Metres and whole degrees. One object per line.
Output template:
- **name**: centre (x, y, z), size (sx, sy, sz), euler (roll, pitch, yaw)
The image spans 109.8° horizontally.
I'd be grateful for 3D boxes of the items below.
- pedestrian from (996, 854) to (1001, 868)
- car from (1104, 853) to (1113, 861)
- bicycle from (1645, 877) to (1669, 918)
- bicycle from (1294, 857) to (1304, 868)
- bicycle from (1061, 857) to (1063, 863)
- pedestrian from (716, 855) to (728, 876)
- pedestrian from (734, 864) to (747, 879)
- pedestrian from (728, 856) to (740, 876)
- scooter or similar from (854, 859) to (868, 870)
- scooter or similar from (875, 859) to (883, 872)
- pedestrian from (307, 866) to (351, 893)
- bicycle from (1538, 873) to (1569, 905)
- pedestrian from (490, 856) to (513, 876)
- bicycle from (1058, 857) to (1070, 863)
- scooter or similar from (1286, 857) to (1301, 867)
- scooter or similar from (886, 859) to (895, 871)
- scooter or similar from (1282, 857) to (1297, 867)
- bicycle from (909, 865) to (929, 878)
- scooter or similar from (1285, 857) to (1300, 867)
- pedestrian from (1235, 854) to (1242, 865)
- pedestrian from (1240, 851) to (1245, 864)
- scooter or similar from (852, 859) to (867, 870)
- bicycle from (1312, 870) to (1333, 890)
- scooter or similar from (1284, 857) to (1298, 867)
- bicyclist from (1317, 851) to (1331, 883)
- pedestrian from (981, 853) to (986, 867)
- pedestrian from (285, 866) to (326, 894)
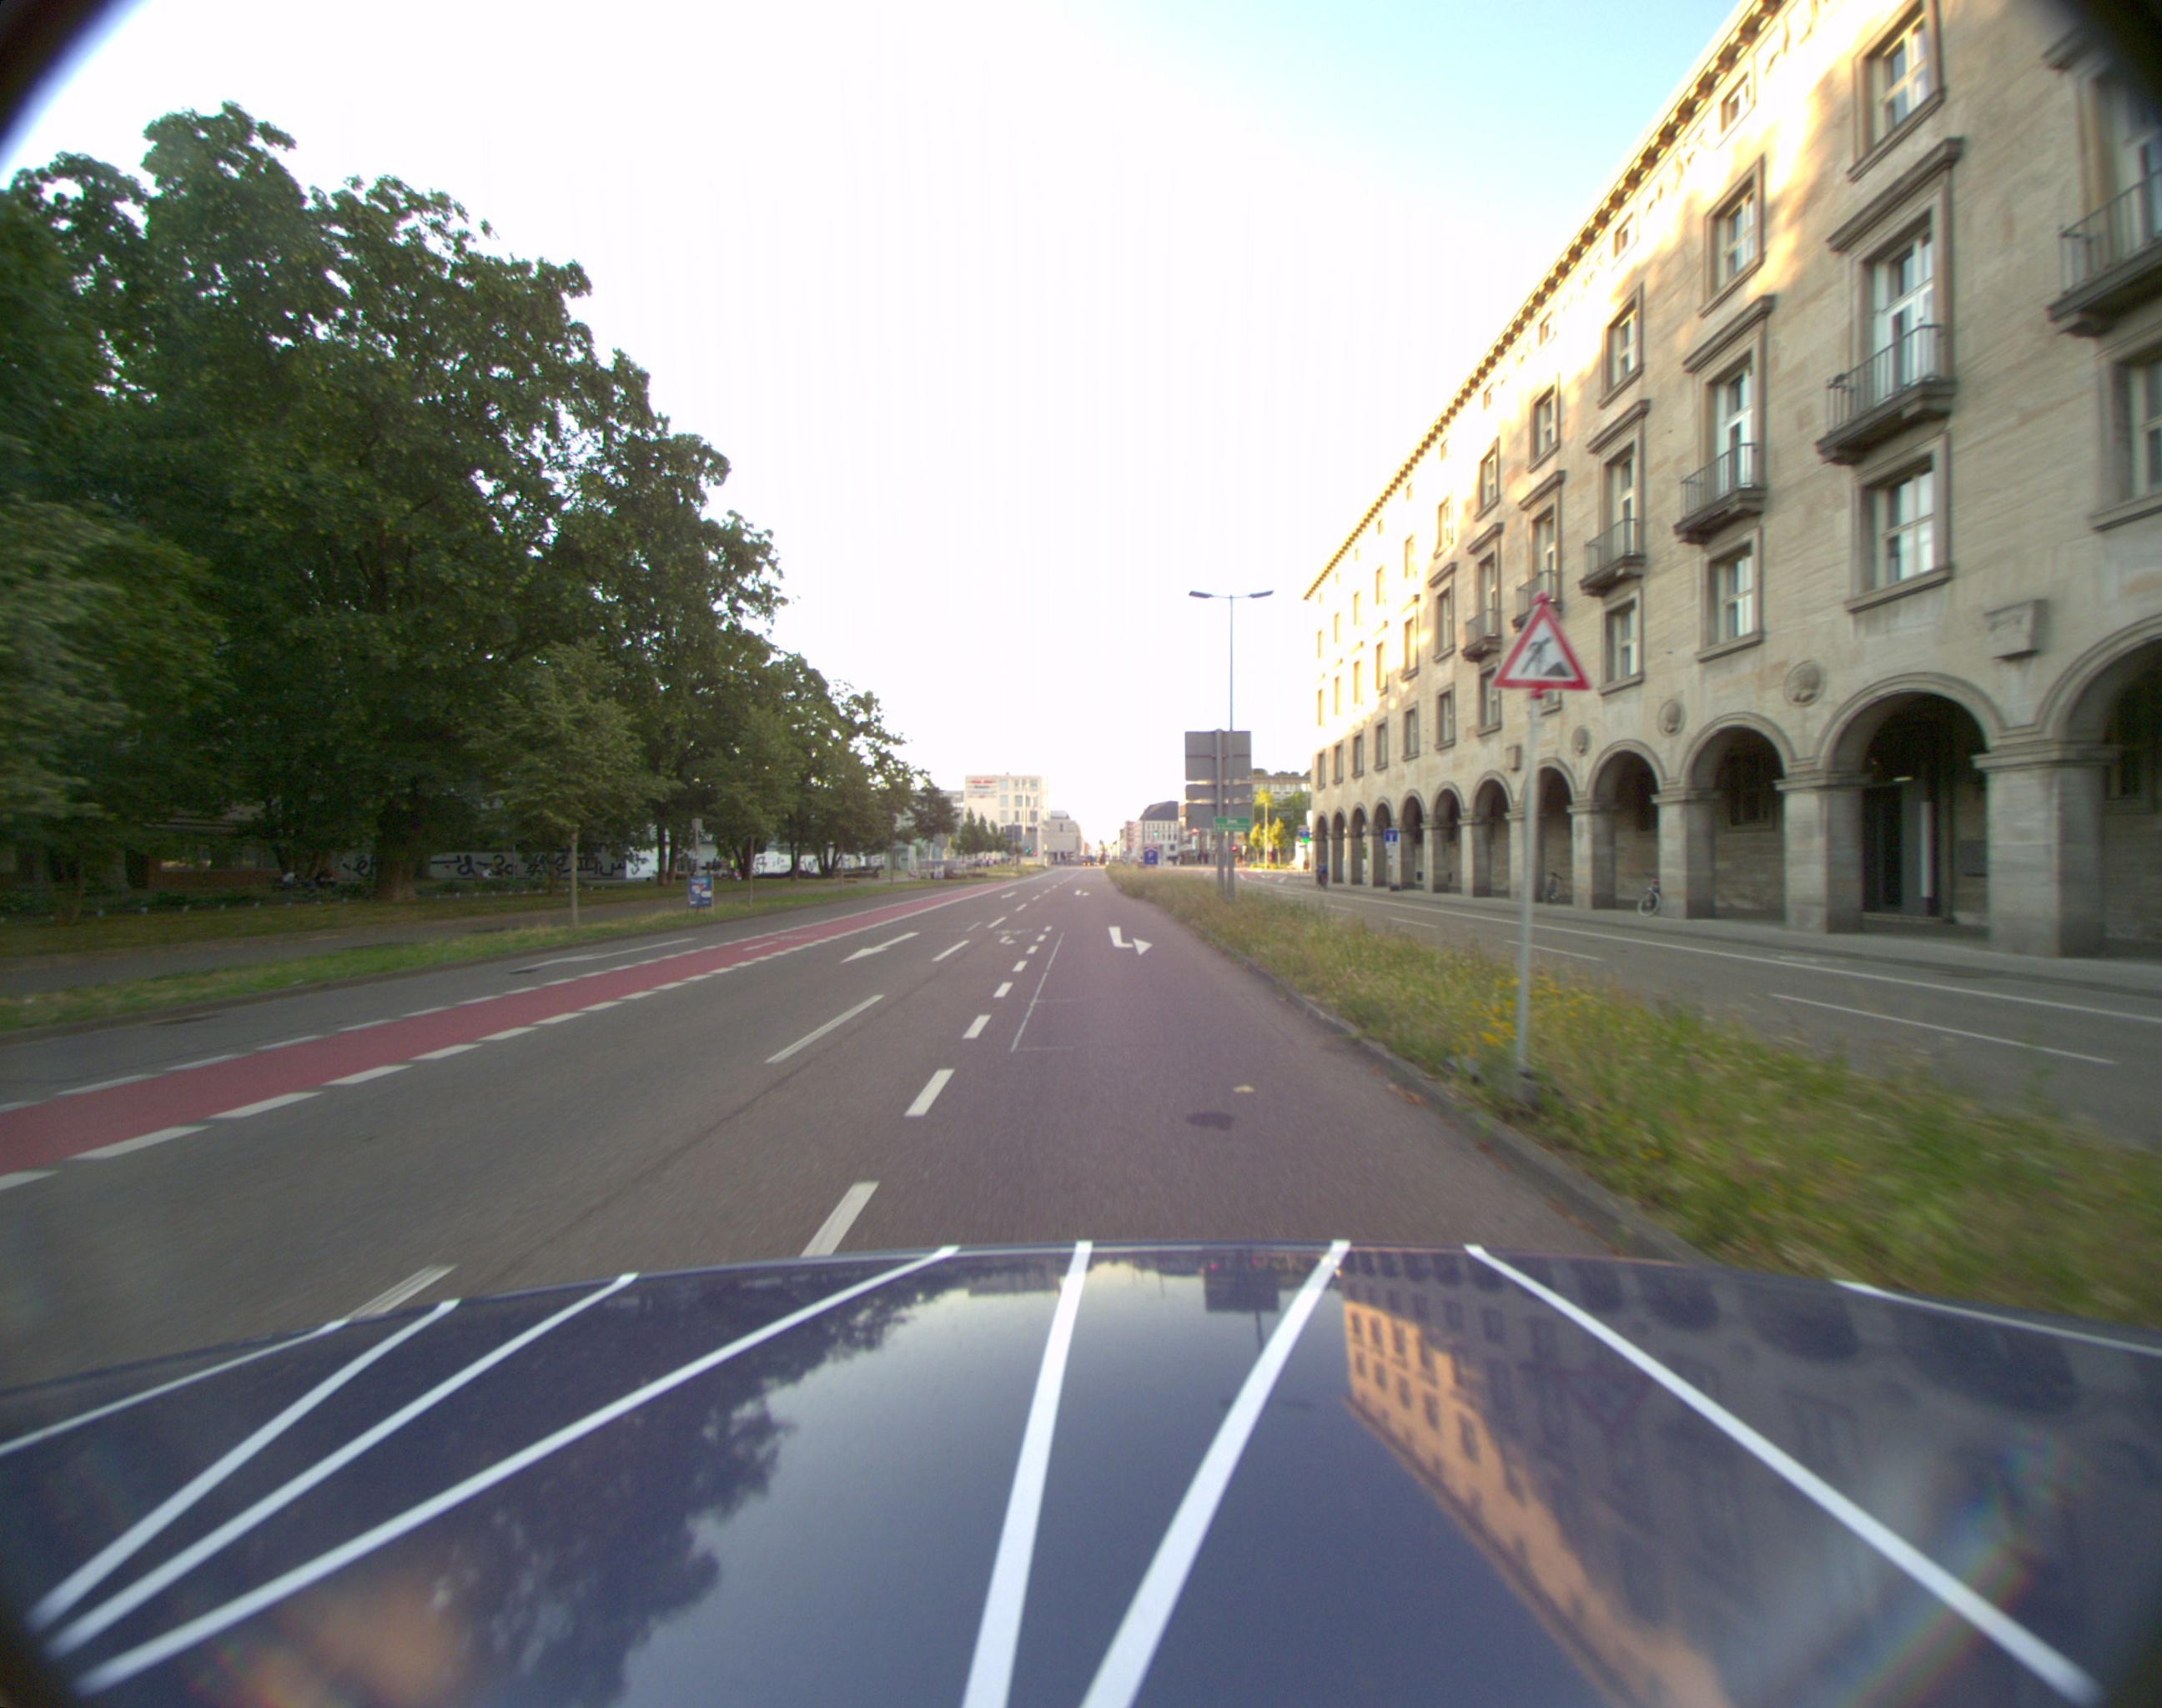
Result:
- **pedestrian**: centre (-11.445, 0.923, 105.657), size (0.644, 1.922, 0.619), euler (0, 0, 1)
- **car**: centre (6.621, 0.748, 180.478), size (2.071, 1.642, 3.999), euler (0, 3, 3)
- **bicycle**: centre (15.443, 1.150, 20.371), size (0.477, 0.999, 2.009), euler (0, 0, 37)
- **bicycle**: centre (27.272, 1.015, 95.075), size (0.619, 1.316, 2.509), euler (0, 0, 0)
- **bicycle**: centre (-4.489, 1.386, 180.170), size (0.619, 1.316, 2.509), euler (0, 0, 0)
- **pedestrian**: centre (-32.493, 1.020, 68.739), size (0.768, 1.845, 0.601), euler (0, 0, 16)
- **pedestrian**: centre (-20.350, 1.061, 45.365), size (0.682, 0.879, 0.592), euler (0, 0, -23)
- **pedestrian**: centre (-31.635, 1.048, 69.289), size (0.768, 1.810, 0.601), euler (0, 0, 16)
- **scooter or similar**: centre (-26.179, 1.248, 90.434), size (1.573, 1.213, 0.474), euler (-2, 1, -1)
- **scooter or similar**: centre (-20.620, 1.155, 77.442), size (0.474, 1.213, 1.574), euler (2, 0, -5)
- **pedestrian**: centre (-34.716, 1.175, 35.103), size (1.134, 1.253, 0.905), euler (0, 0, 4)
- **bicycle**: centre (15.769, 1.149, 25.404), size (0.477, 0.999, 2.008), euler (0, 0, 20)
- **pedestrian**: centre (-34.721, 0.701, 45.548), size (0.788, 1.157, 0.766), euler (0, 0, -4)
- **bicycle**: centre (-4.047, 1.443, 182.341), size (2.804, 1.209, 0.765), euler (0, 0, 11)
- **scooter or similar**: centre (27.145, 1.053, 97.080), size (1.840, 1.297, 0.423), euler (0, 1, -5)
- **scooter or similar**: centre (-19.447, 1.141, 77.495), size (0.424, 1.213, 1.399), euler (2, 0, 2)
- **scooter or similar**: centre (27.036, 1.060, 98.512), size (1.863, 1.297, 0.500), euler (0, 1, -5)
- **bicycle**: centre (-12.306, 1.325, 57.761), size (0.494, 0.999, 1.901), euler (3, 0, 21)
- **scooter or similar**: centre (27.118, 1.059, 97.521), size (1.836, 1.297, 0.423), euler (0, 1, -5)
- **pedestrian**: centre (24.837, 0.883, 119.767), size (0.874, 1.826, 0.776), euler (0, 0, 2)
- **pedestrian**: centre (25.788, 0.562, 121.046), size (0.661, 1.921, 0.648), euler (0, -1, 3)
- **scooter or similar**: centre (-26.128, 1.260, 89.617), size (1.573, 1.213, 0.474), euler (-2, 1, -1)
- **bicycle**: centre (13.005, 1.377, 40.959), size (0.543, 0.999, 2.005), euler (0, 0, 1)
- **scooter or similar**: centre (27.097, 1.066, 98.006), size (1.792, 1.297, 0.417), euler (0, 1, -5)
- **bicyclist**: centre (12.999, 0.681, 40.674), size (0.537, 1.683, 0.748), euler (0, 1, 2)
- **pedestrian**: centre (-13.600, 0.874, 105.821), size (0.644, 1.922, 0.619), euler (0, 0, 4)
- **pedestrian**: centre (-34.840, 1.163, 34.155), size (1.134, 1.253, 0.726), euler (0, 0, 4)
